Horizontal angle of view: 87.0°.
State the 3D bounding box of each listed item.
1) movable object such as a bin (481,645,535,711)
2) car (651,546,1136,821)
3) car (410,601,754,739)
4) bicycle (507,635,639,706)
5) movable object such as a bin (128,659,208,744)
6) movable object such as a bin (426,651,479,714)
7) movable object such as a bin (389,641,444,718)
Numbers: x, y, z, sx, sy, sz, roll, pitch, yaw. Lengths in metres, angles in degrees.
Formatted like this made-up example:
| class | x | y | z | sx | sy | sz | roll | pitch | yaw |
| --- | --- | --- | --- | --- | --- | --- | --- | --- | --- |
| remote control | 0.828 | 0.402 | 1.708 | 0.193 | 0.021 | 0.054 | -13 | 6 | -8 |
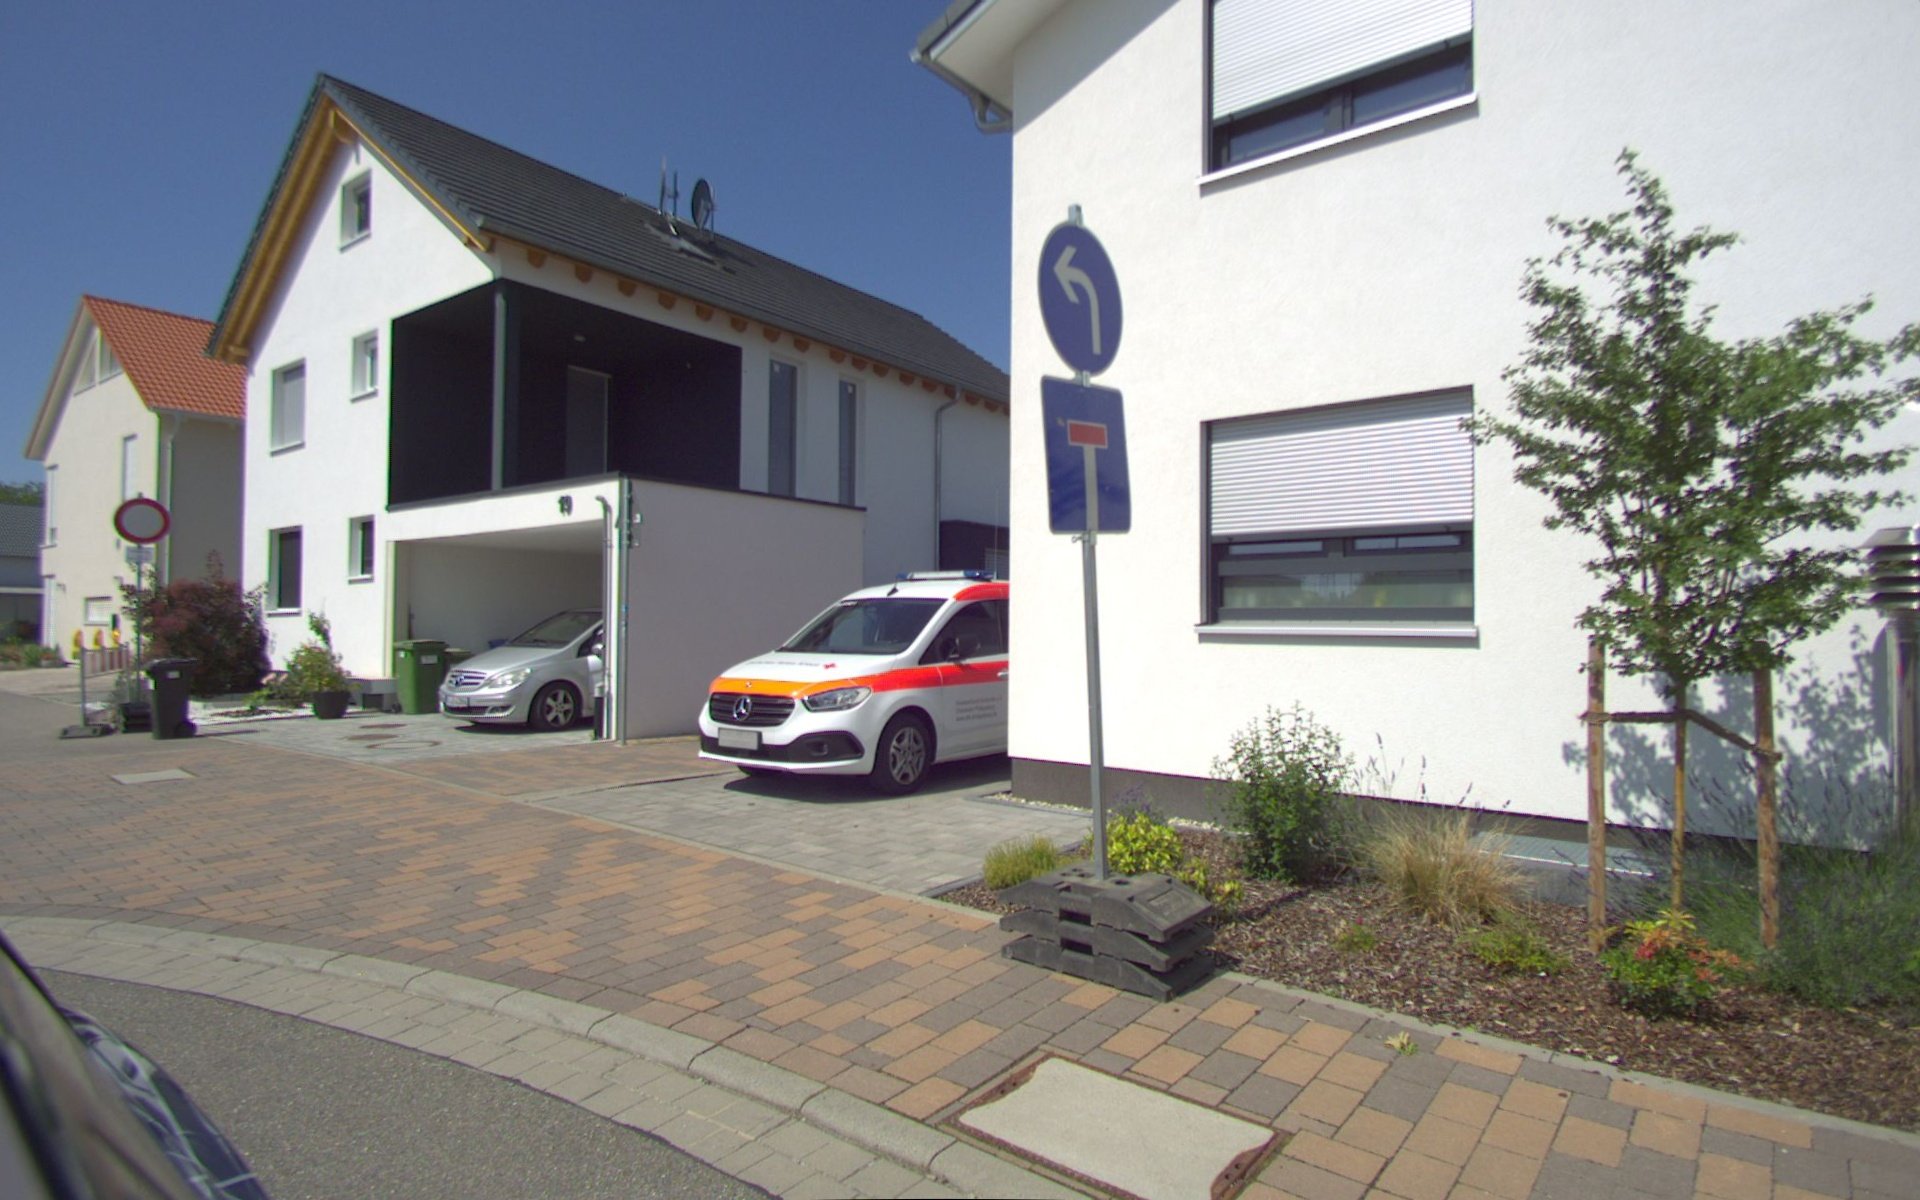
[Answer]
| class | x | y | z | sx | sy | sz | roll | pitch | yaw |
| --- | --- | --- | --- | --- | --- | --- | --- | --- | --- |
| movable object such as a bin | -7.235 | 1.237 | 16.190 | 0.675 | 0.994 | 0.494 | 0 | -1 | 35 |
| car | -0.305 | 0.668 | 9.455 | 1.935 | 1.889 | 4.692 | -1 | -3 | 37 |
| car | -4.909 | 0.890 | 13.723 | 1.741 | 1.574 | 4.117 | -1 | -3 | 34 |
| bicycle | -6.710 | 1.198 | 17.662 | 0.776 | 1.135 | 2.110 | 0 | -1 | 31 |
| movable object such as a bin | -9.391 | 1.188 | 12.005 | 0.563 | 0.944 | 0.611 | -2 | -2 | 35 |
| movable object such as a bin | -7.719 | 1.243 | 15.396 | 0.560 | 0.912 | 0.494 | 0 | -1 | 35 |
| movable object such as a bin | -7.997 | 1.155 | 14.894 | 0.600 | 1.100 | 0.494 | -3 | -3 | 35 |
